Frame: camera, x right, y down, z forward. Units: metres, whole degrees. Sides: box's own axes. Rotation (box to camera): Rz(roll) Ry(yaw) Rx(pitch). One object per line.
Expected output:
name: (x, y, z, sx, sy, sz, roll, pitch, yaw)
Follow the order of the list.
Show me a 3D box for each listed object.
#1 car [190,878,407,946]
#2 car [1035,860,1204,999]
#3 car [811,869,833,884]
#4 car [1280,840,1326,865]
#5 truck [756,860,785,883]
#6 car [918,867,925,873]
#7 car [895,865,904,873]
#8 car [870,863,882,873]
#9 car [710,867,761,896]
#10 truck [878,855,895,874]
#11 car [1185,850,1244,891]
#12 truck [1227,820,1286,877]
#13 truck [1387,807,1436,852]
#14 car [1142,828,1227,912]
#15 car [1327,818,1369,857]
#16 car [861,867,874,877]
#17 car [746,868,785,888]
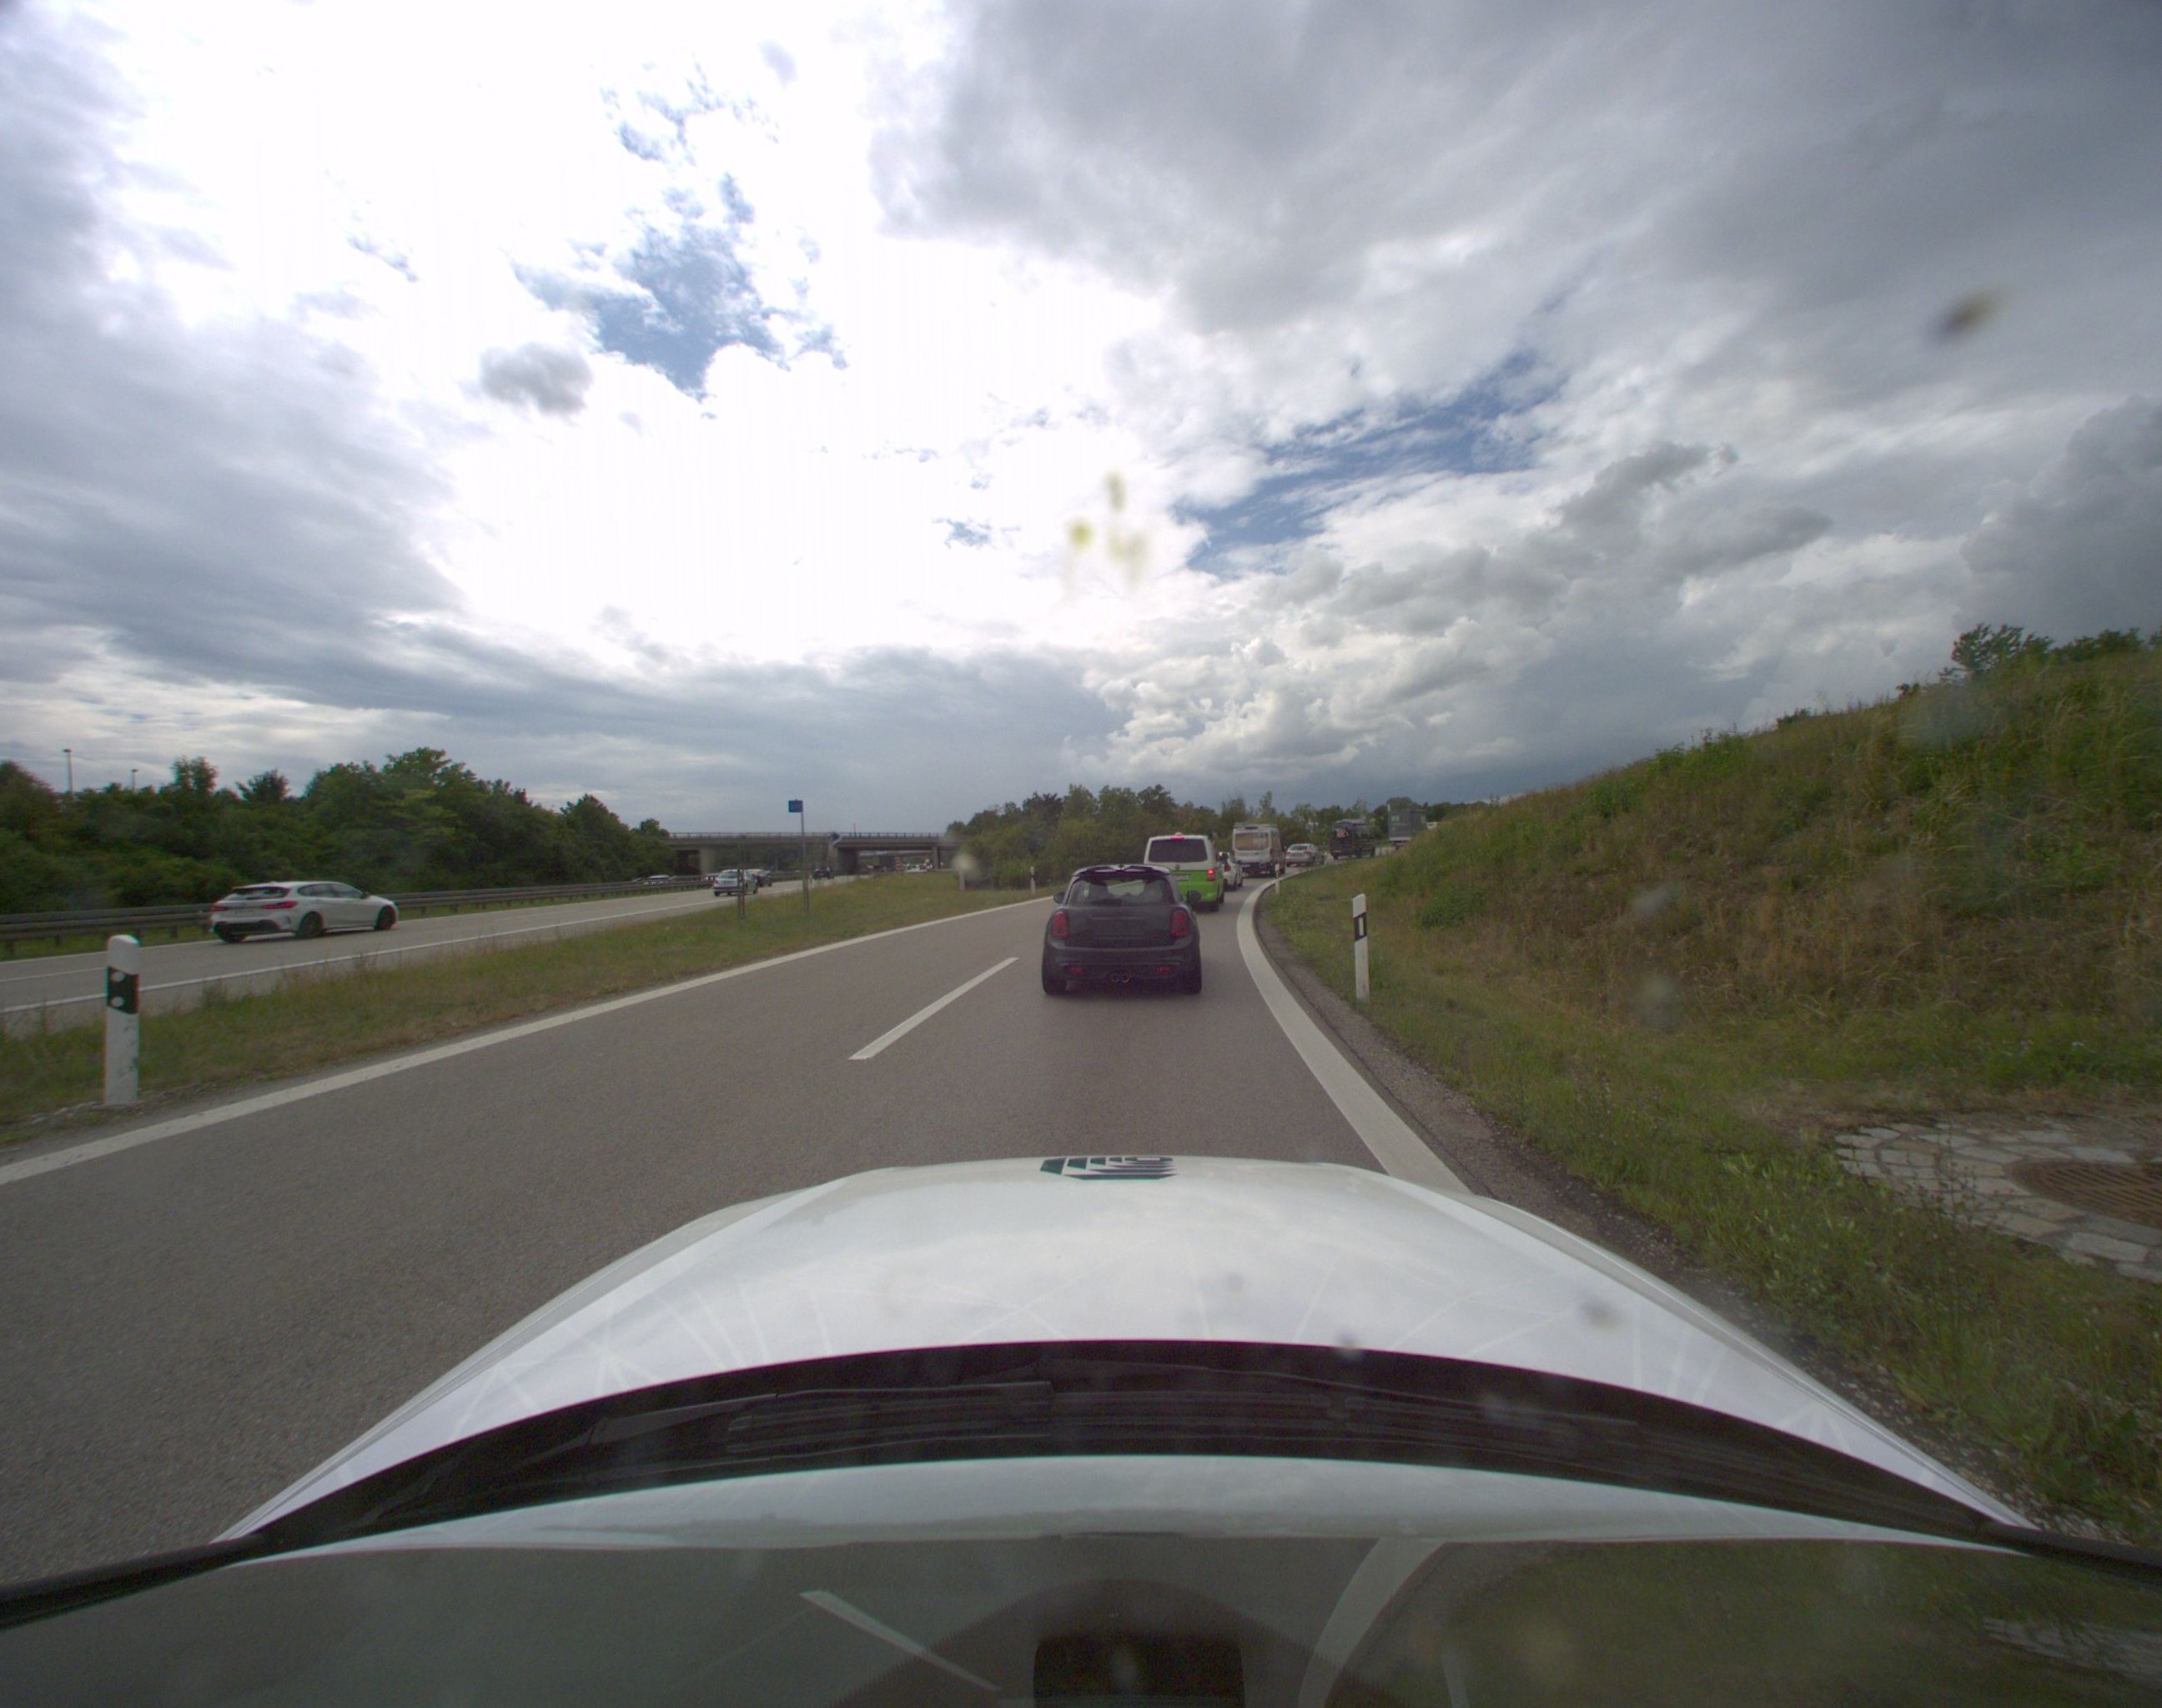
car: (-20.244, 1.430, 21.396, 1.835, 1.453, 4.367, -2, -1, -8)
car: (0.533, 0.799, 10.270, 1.719, 1.413, 3.729, -1, -1, 4)
car: (-32.897, 2.848, 103.600, 1.993, 1.743, 4.813, -2, 0, -9)
car: (14.190, -0.078, 51.926, 1.848, 1.510, 4.025, -2, -1, 29)
truck: (-50.902, 2.811, 133.874, 2.758, 3.646, 8.170, -2, -1, -9)
car: (-49.946, 5.040, 254.848, 1.994, 2.014, 3.985, 0, -1, -11)
car: (-43.447, 3.546, 195.058, 1.875, 1.751, 4.473, -2, -1, -8)
car: (-42.718, 2.899, 169.541, 1.993, 1.810, 3.987, -2, 0, -9)
car: (-19.760, 1.551, 46.740, 1.717, 1.519, 3.986, -2, -1, -10)
truck: (-36.330, 2.040, 152.236, 2.467, 3.371, 7.896, -2, -1, -10)
car: (5.090, 0.592, 30.635, 1.749, 1.399, 3.740, -2, -1, 16)
truck: (8.918, -0.288, 41.043, 2.160, 2.658, 5.134, -2, 0, 19)
truck: (30.685, -2.206, 75.439, 2.207, 3.907, 6.052, -2, -2, 42)
car: (2.843, 0.397, 21.705, 1.771, 2.014, 4.015, -1, 0, 14)
car: (19.875, -1.207, 60.523, 2.084, 2.796, 4.025, -1, 0, 32)
car: (-39.409, 3.365, 150.130, 1.845, 1.758, 4.321, -2, -1, -10)
car: (-26.058, 1.985, 67.348, 1.993, 1.509, 4.763, -2, 0, -9)
